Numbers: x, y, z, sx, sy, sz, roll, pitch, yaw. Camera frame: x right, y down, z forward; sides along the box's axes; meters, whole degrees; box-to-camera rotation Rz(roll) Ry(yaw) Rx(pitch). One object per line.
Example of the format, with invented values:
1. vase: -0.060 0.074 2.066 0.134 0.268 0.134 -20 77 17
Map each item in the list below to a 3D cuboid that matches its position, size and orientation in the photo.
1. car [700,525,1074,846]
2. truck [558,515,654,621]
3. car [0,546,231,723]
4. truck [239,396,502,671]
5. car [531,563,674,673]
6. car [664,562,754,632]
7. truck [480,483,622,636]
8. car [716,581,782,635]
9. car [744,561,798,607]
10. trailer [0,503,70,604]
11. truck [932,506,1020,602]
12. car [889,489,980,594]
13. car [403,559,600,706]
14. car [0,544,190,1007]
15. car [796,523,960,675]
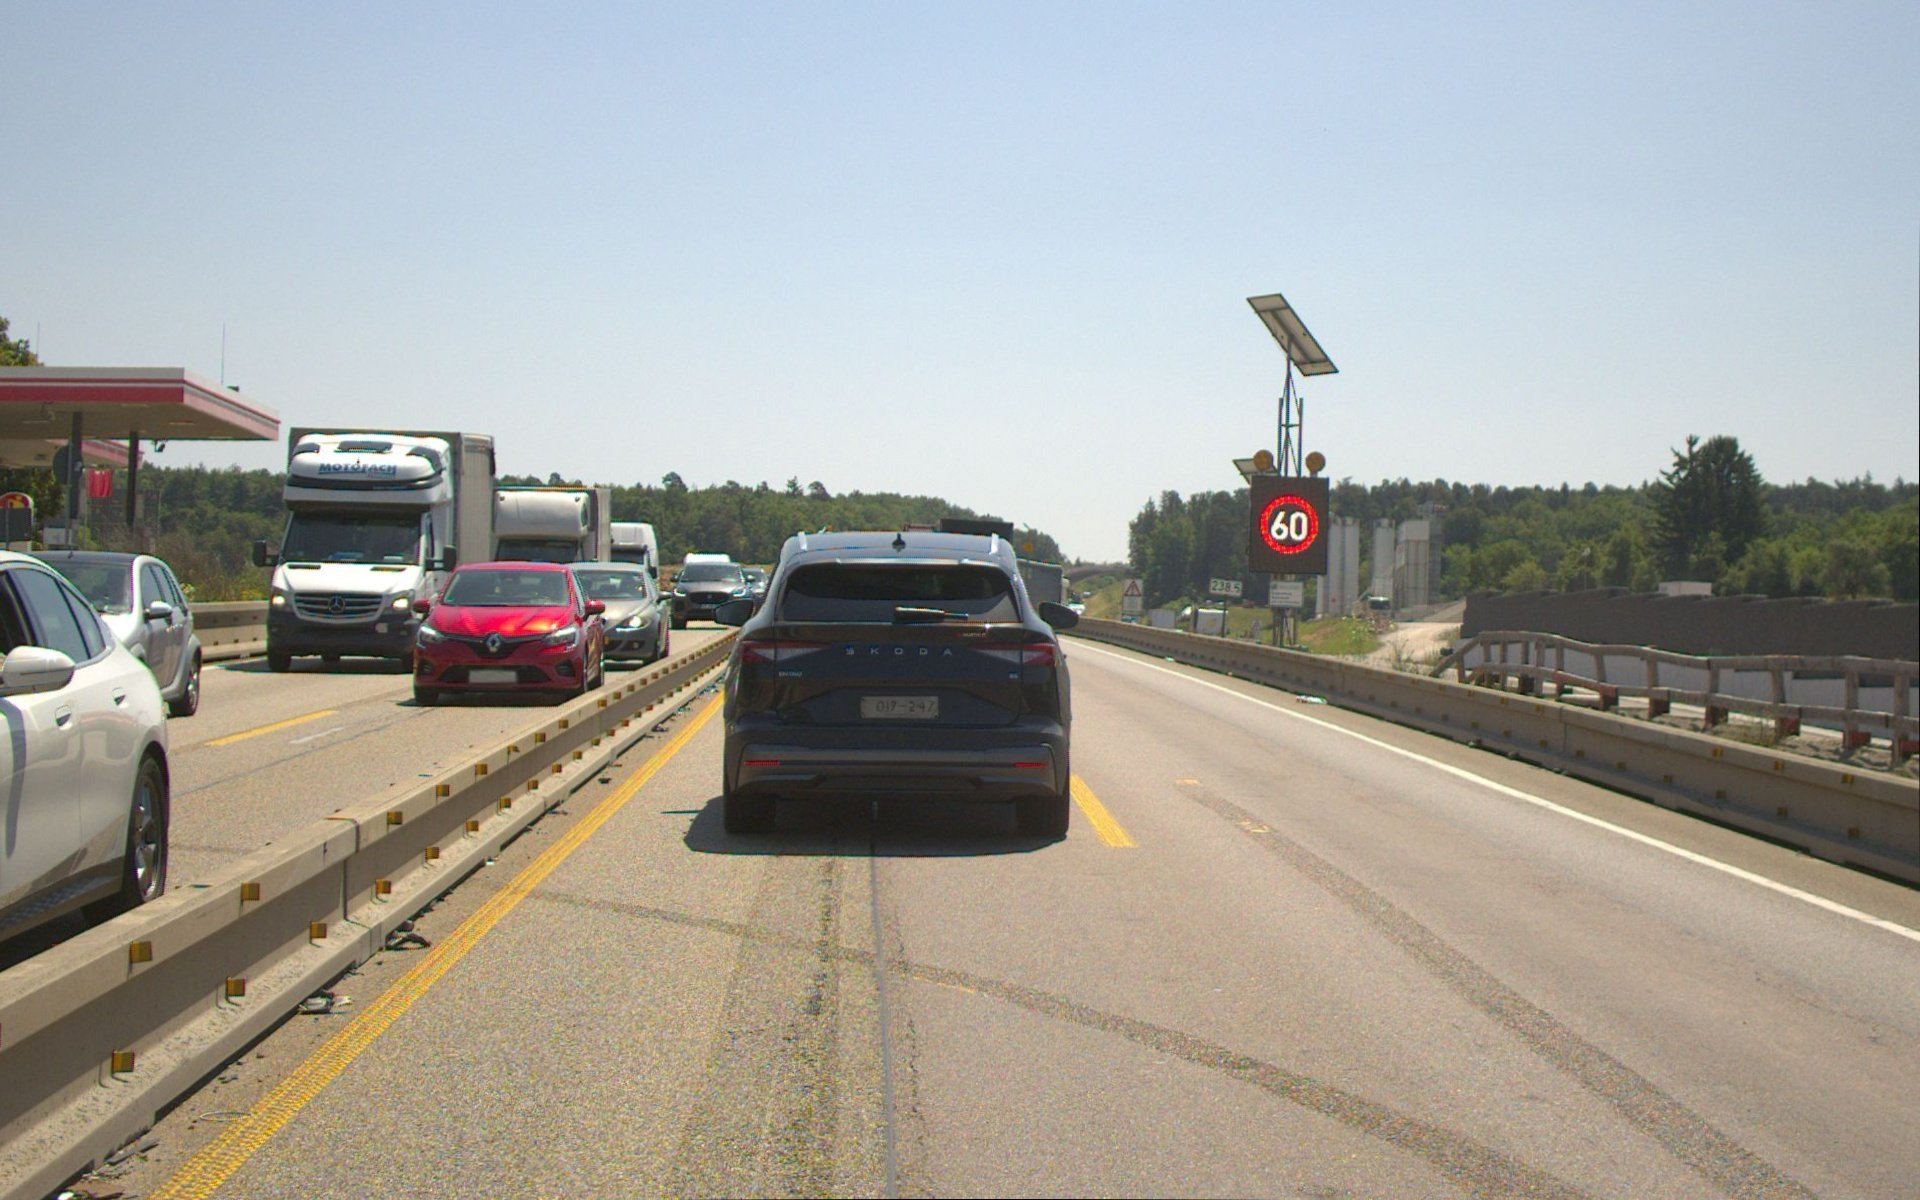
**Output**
1. car: -0.386 0.391 19.068 1.842 1.576 4.000 1 1 -1
2. truck: -9.756 -0.897 95.164 2.239 2.777 6.493 1 1 -3
3. car: -7.661 0.259 30.726 1.622 1.443 3.786 1 1 -3
4. truck: -7.879 -0.883 46.814 2.389 3.373 7.715 1 1 -2
5. car: -4.919 0.219 47.716 1.681 1.424 4.202 0 1 -2
6. car: -6.087 -0.099 83.839 1.942 1.653 4.745 0 1 -1
7. truck: -9.203 -0.958 78.031 2.495 3.280 8.118 0 1 -2
8. car: -6.594 0.232 107.261 1.938 1.605 4.001 1 1 -5
9. car: -6.994 -0.604 127.310 1.845 1.635 4.000 1 1 -1
10. trailer: -41.783 -1.946 138.429 3.154 4.097 14.143 0 0 26
11. truck: 0.481 -1.453 109.428 2.673 2.935 5.621 1 1 -1
12. car: -1.088 -2.466 148.890 3.436 4.087 9.197 5 0 0
13. car: -4.719 0.295 35.821 1.649 1.429 4.000 0 1 -2
14. car: -4.057 0.553 11.747 1.896 1.487 4.760 0 1 -1
15. car: -1.133 -0.008 45.684 1.993 1.838 4.000 3 0 -3
